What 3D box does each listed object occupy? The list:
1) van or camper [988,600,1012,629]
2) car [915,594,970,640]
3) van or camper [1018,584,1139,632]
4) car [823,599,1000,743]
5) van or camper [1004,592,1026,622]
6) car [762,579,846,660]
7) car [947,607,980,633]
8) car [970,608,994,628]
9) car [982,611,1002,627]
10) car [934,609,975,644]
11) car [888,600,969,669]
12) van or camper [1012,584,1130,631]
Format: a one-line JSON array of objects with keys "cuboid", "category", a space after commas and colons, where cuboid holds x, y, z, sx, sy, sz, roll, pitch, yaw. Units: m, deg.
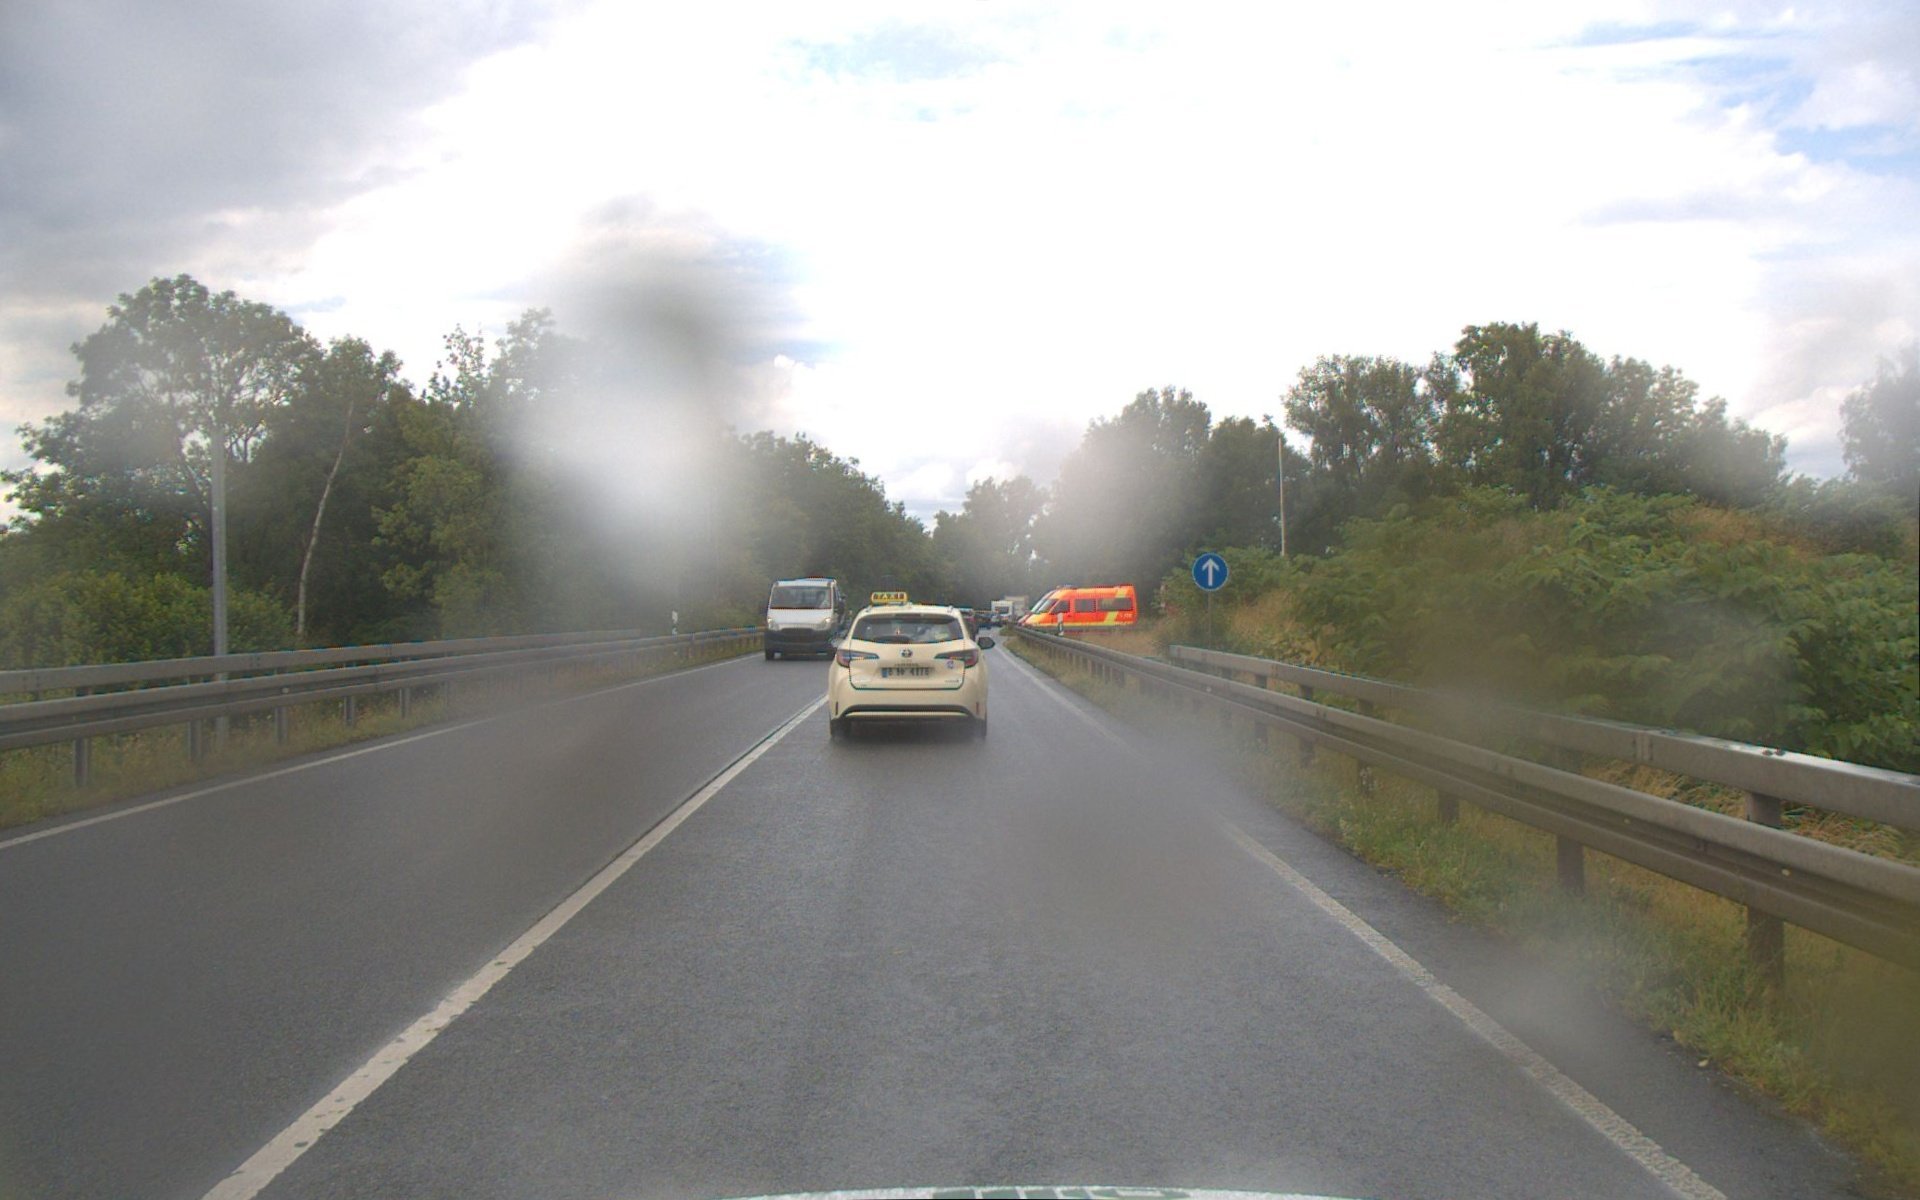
[{"cuboid": [4.226, 1.464, 174.802, 2.285, 2.914, 6.306, 1, 0, -1], "category": "van or camper"}, {"cuboid": [-0.631, 0.576, 57.871, 1.817, 1.468, 4.169, 1, 1, -2], "category": "car"}, {"cuboid": [5.791, 0.398, 80.910, 5.586, 2.280, 2.011, 0, 0, -16], "category": "van or camper"}, {"cuboid": [-0.567, 0.735, 19.225, 1.817, 1.418, 4.169, 1, 1, -2], "category": "car"}, {"cuboid": [6.638, 0.822, 199.778, 2.285, 3.625, 6.306, 1, 0, -1], "category": "van or camper"}, {"cuboid": [-4.403, 0.506, 47.329, 1.953, 2.165, 4.894, 1, 0, -1], "category": "car"}, {"cuboid": [0.202, 1.184, 100.124, 1.817, 1.468, 4.169, 1, 0, -2], "category": "car"}, {"cuboid": [1.725, 1.361, 127.804, 1.816, 1.468, 4.172, 1, 0, 2], "category": "car"}, {"cuboid": [2.999, 1.769, 155.882, 1.816, 1.468, 4.172, 1, 0, 2], "category": "car"}, {"cuboid": [-0.270, 1.229, 78.249, 1.817, 1.468, 4.169, 1, 1, -2], "category": "car"}, {"cuboid": [-0.772, 0.784, 39.549, 1.817, 1.468, 4.169, 1, 1, -2], "category": "car"}, {"cuboid": [5.581, 0.377, 83.206, 5.586, 2.280, 2.011, 0, 0, -16], "category": "van or camper"}]
